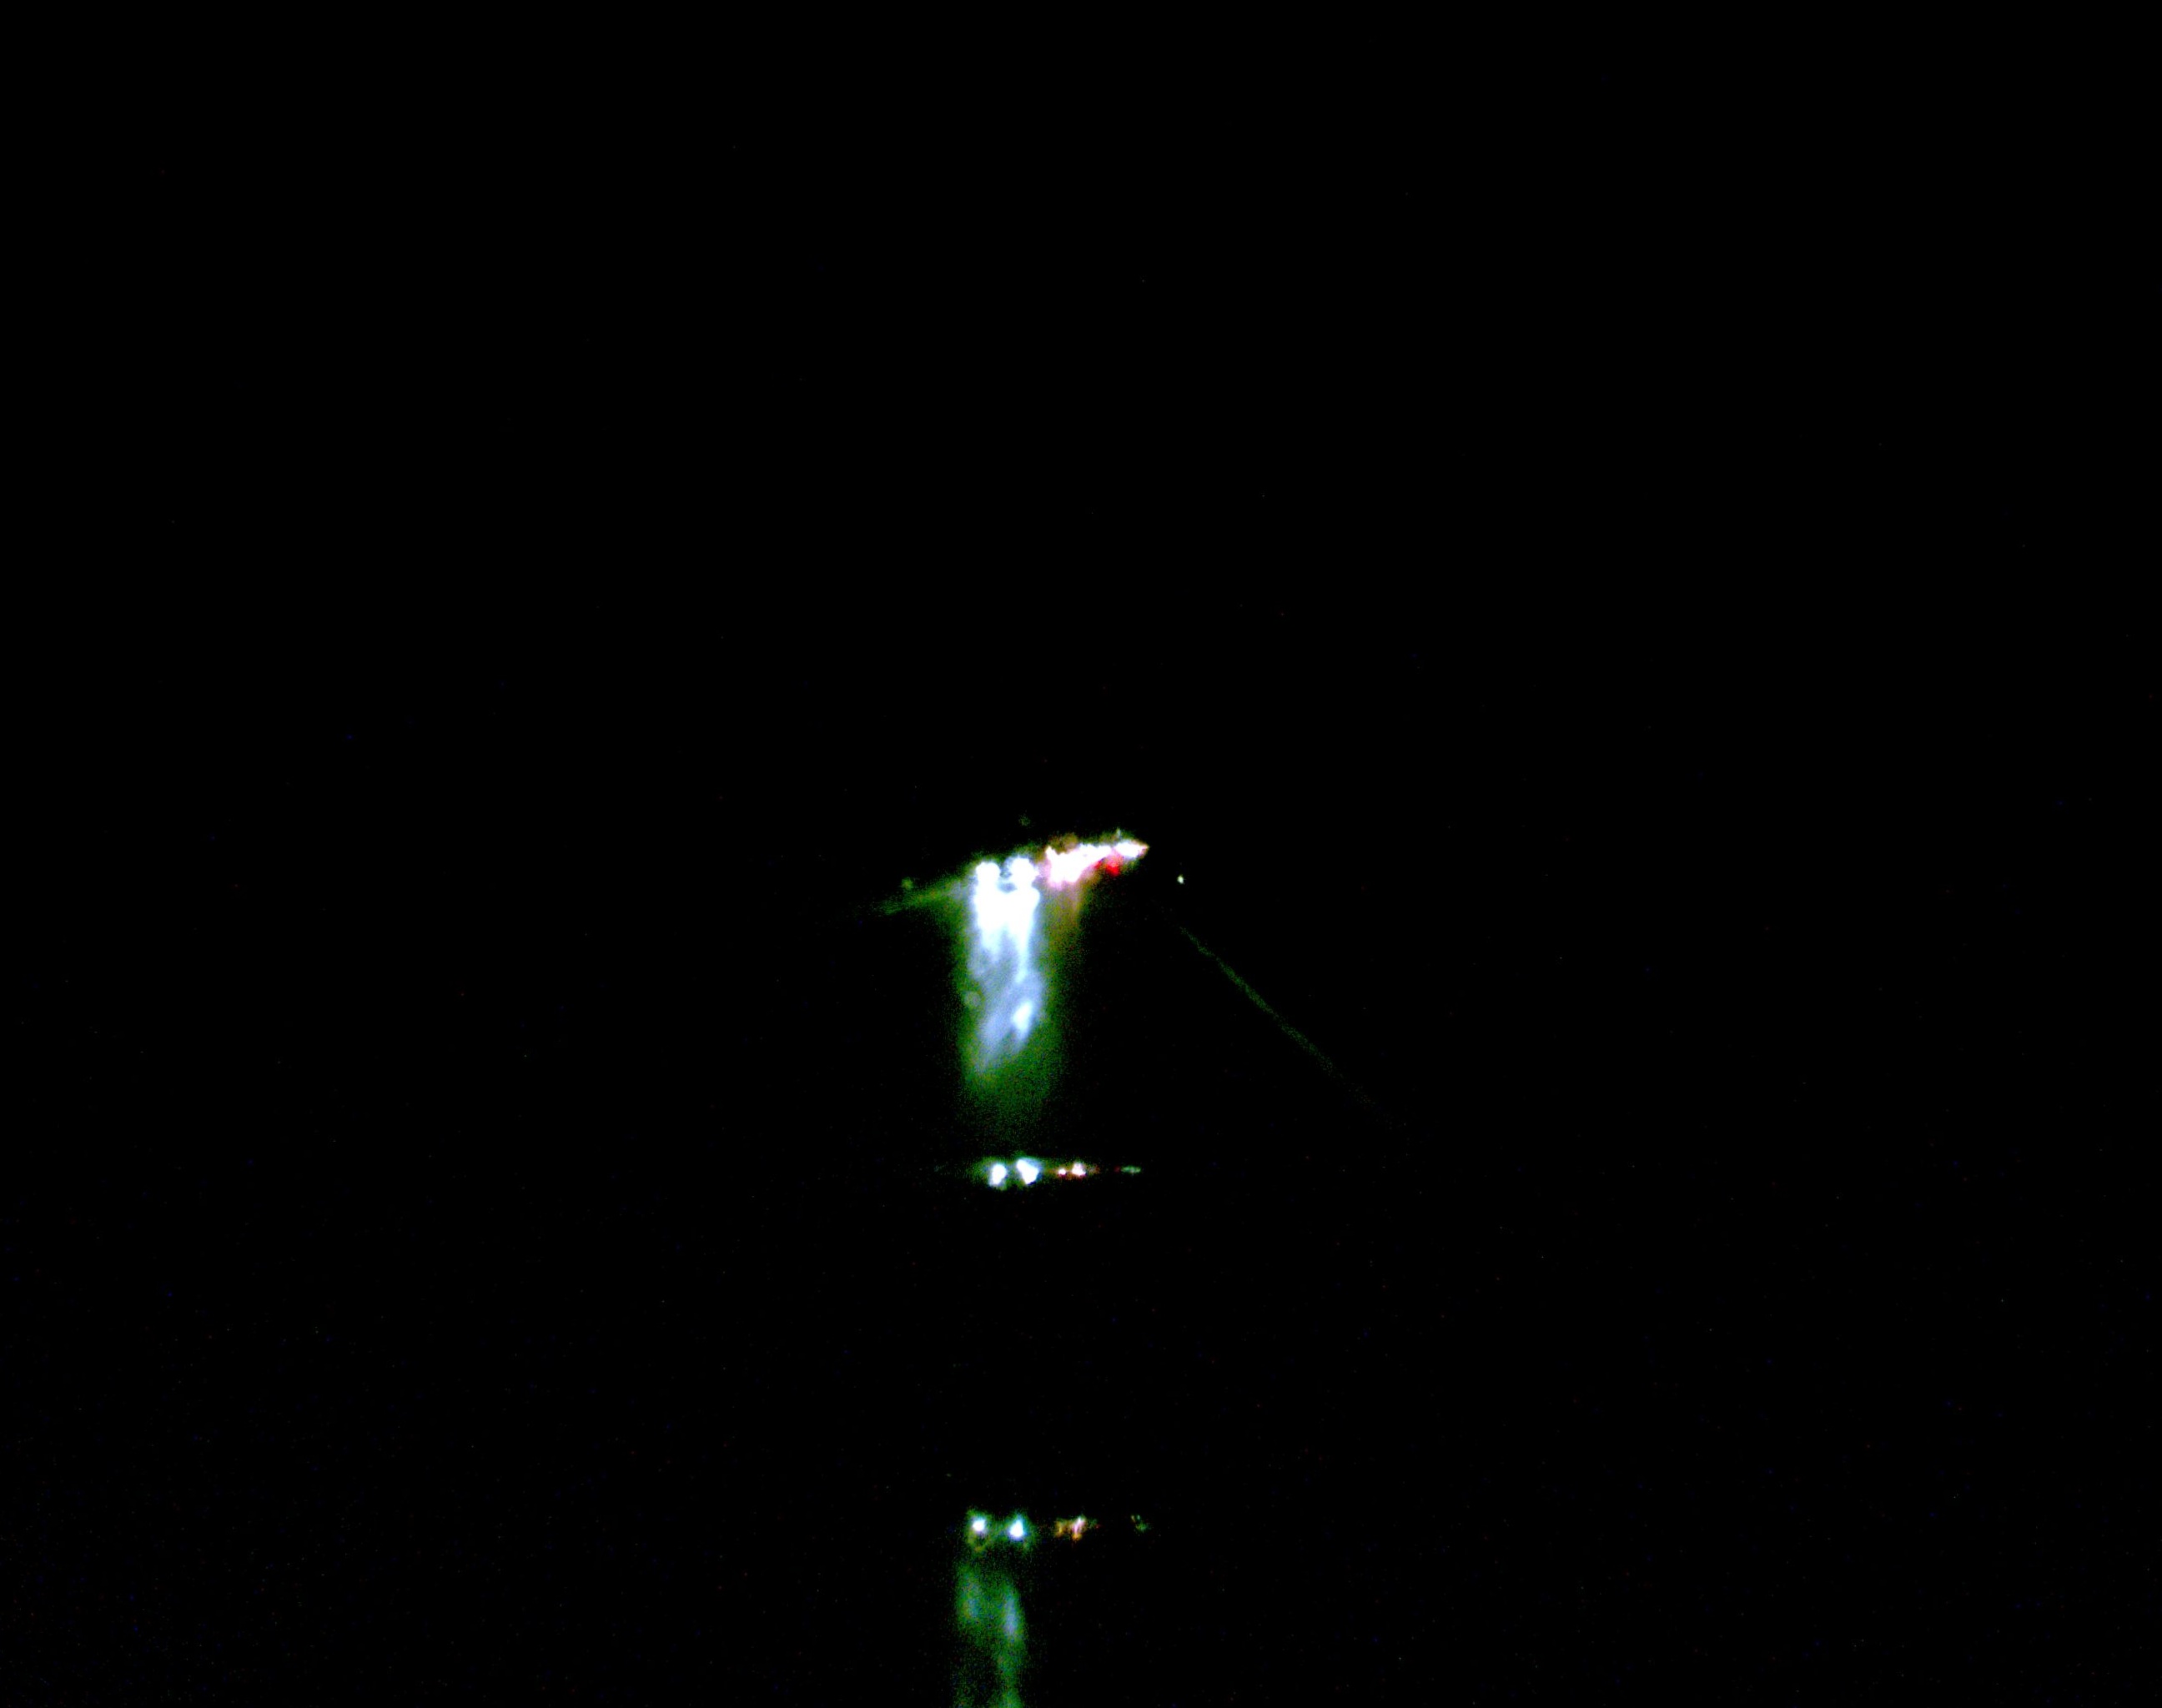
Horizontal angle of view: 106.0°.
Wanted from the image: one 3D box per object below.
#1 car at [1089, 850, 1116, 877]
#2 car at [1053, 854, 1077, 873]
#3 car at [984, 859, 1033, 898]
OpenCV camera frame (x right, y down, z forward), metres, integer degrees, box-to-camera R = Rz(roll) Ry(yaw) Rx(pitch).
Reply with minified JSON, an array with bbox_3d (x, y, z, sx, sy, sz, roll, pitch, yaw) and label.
[{"bbox_3d":[1.484,0.646,56.601,1.836,1.740,4.001,1,1,1],"label":"car"},{"bbox_3d":[-1.460,0.891,76.957,1.986,1.661,4.002,0,-1,2],"label":"car"},{"bbox_3d":[-3.342,1.139,38.200,1.988,1.661,3.997,1,-2,-1],"label":"car"}]
